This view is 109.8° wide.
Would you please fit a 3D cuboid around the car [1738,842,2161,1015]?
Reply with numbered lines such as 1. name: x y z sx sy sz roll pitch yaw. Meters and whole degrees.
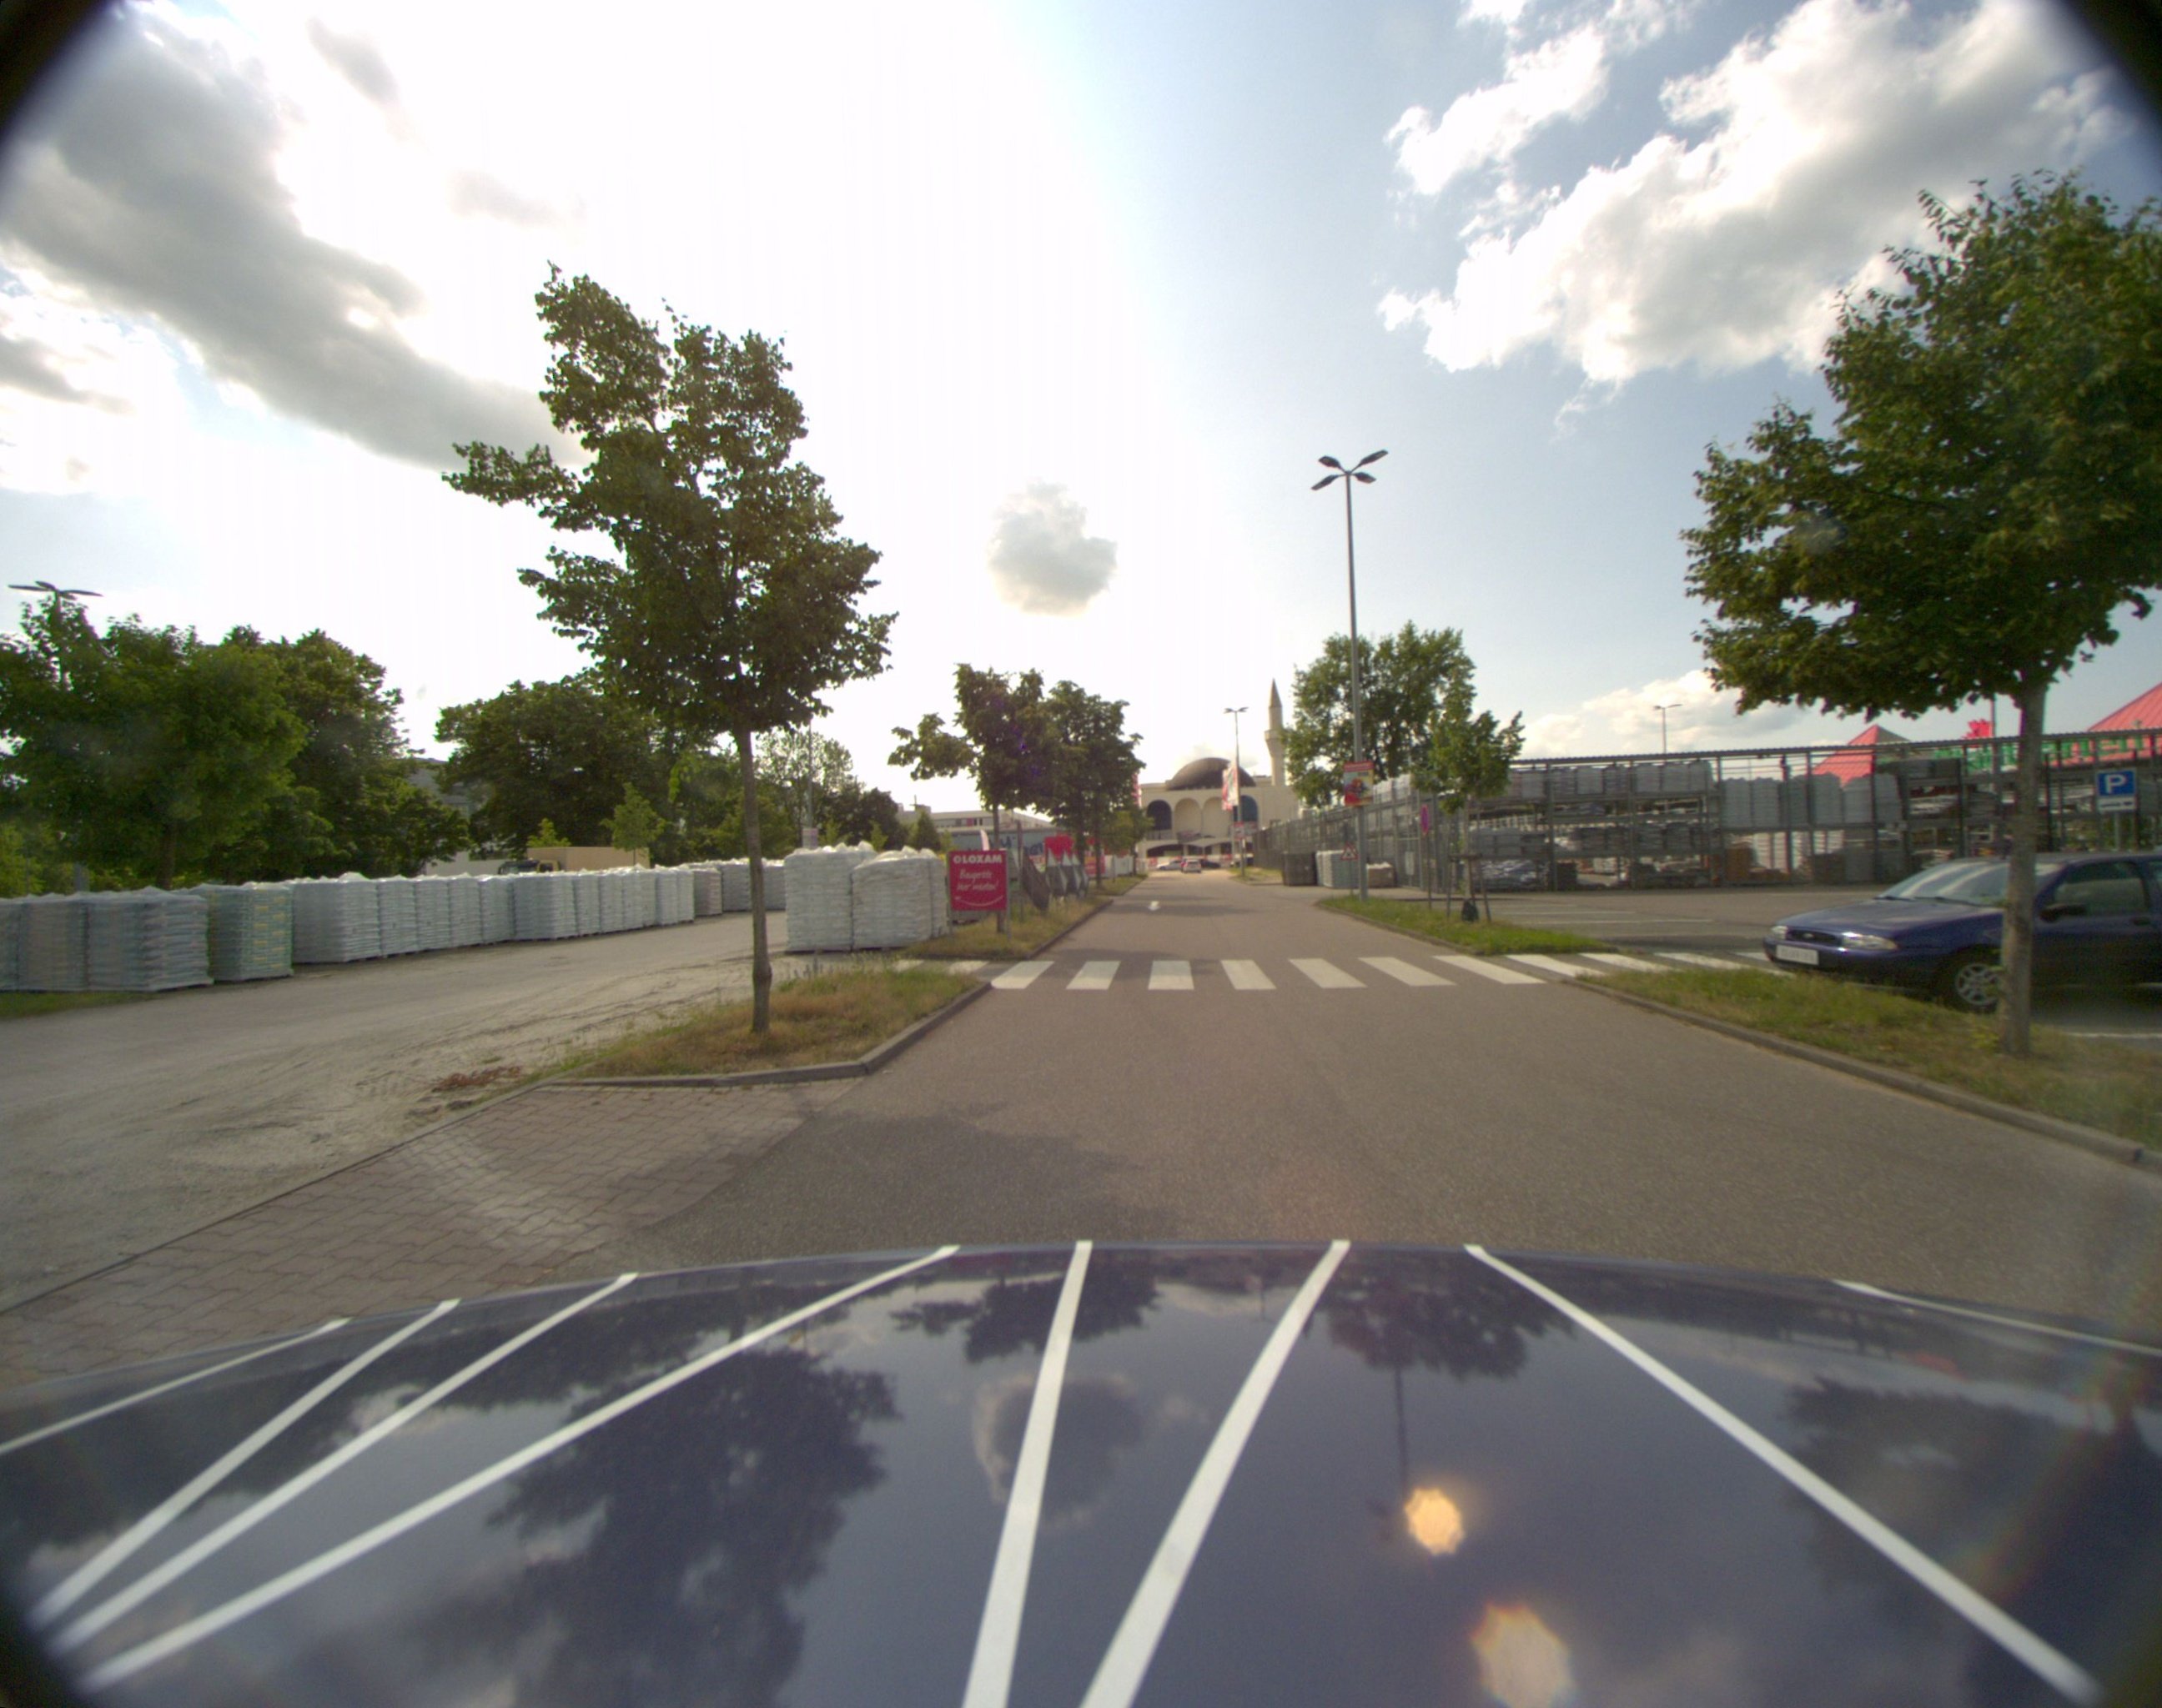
1. car: 8.873 0.632 7.210 3.759 1.360 1.621 -2 0 4

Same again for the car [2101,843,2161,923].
1. car: 20.752 0.466 13.235 3.352 1.396 1.812 -2 0 4

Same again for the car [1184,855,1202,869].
1. car: 12.260 0.851 83.119 1.807 1.456 4.331 -2 0 8

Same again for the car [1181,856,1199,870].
1. car: 12.849 1.097 89.956 1.919 1.608 4.376 -2 -1 6

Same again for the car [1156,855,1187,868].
1. car: 12.392 1.023 103.932 4.188 1.500 1.793 -2 0 8

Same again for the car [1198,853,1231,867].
1. car: 17.556 0.802 100.100 3.995 1.636 1.907 -2 0 4

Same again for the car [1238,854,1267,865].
1. car: 23.091 0.712 102.424 3.705 1.358 1.652 -2 0 9

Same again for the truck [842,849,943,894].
1. truck: -11.381 1.037 46.110 5.439 2.500 2.117 -2 0 4

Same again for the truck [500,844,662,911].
1. truck: -29.707 1.287 45.799 2.726 3.577 9.043 -2 0 9
